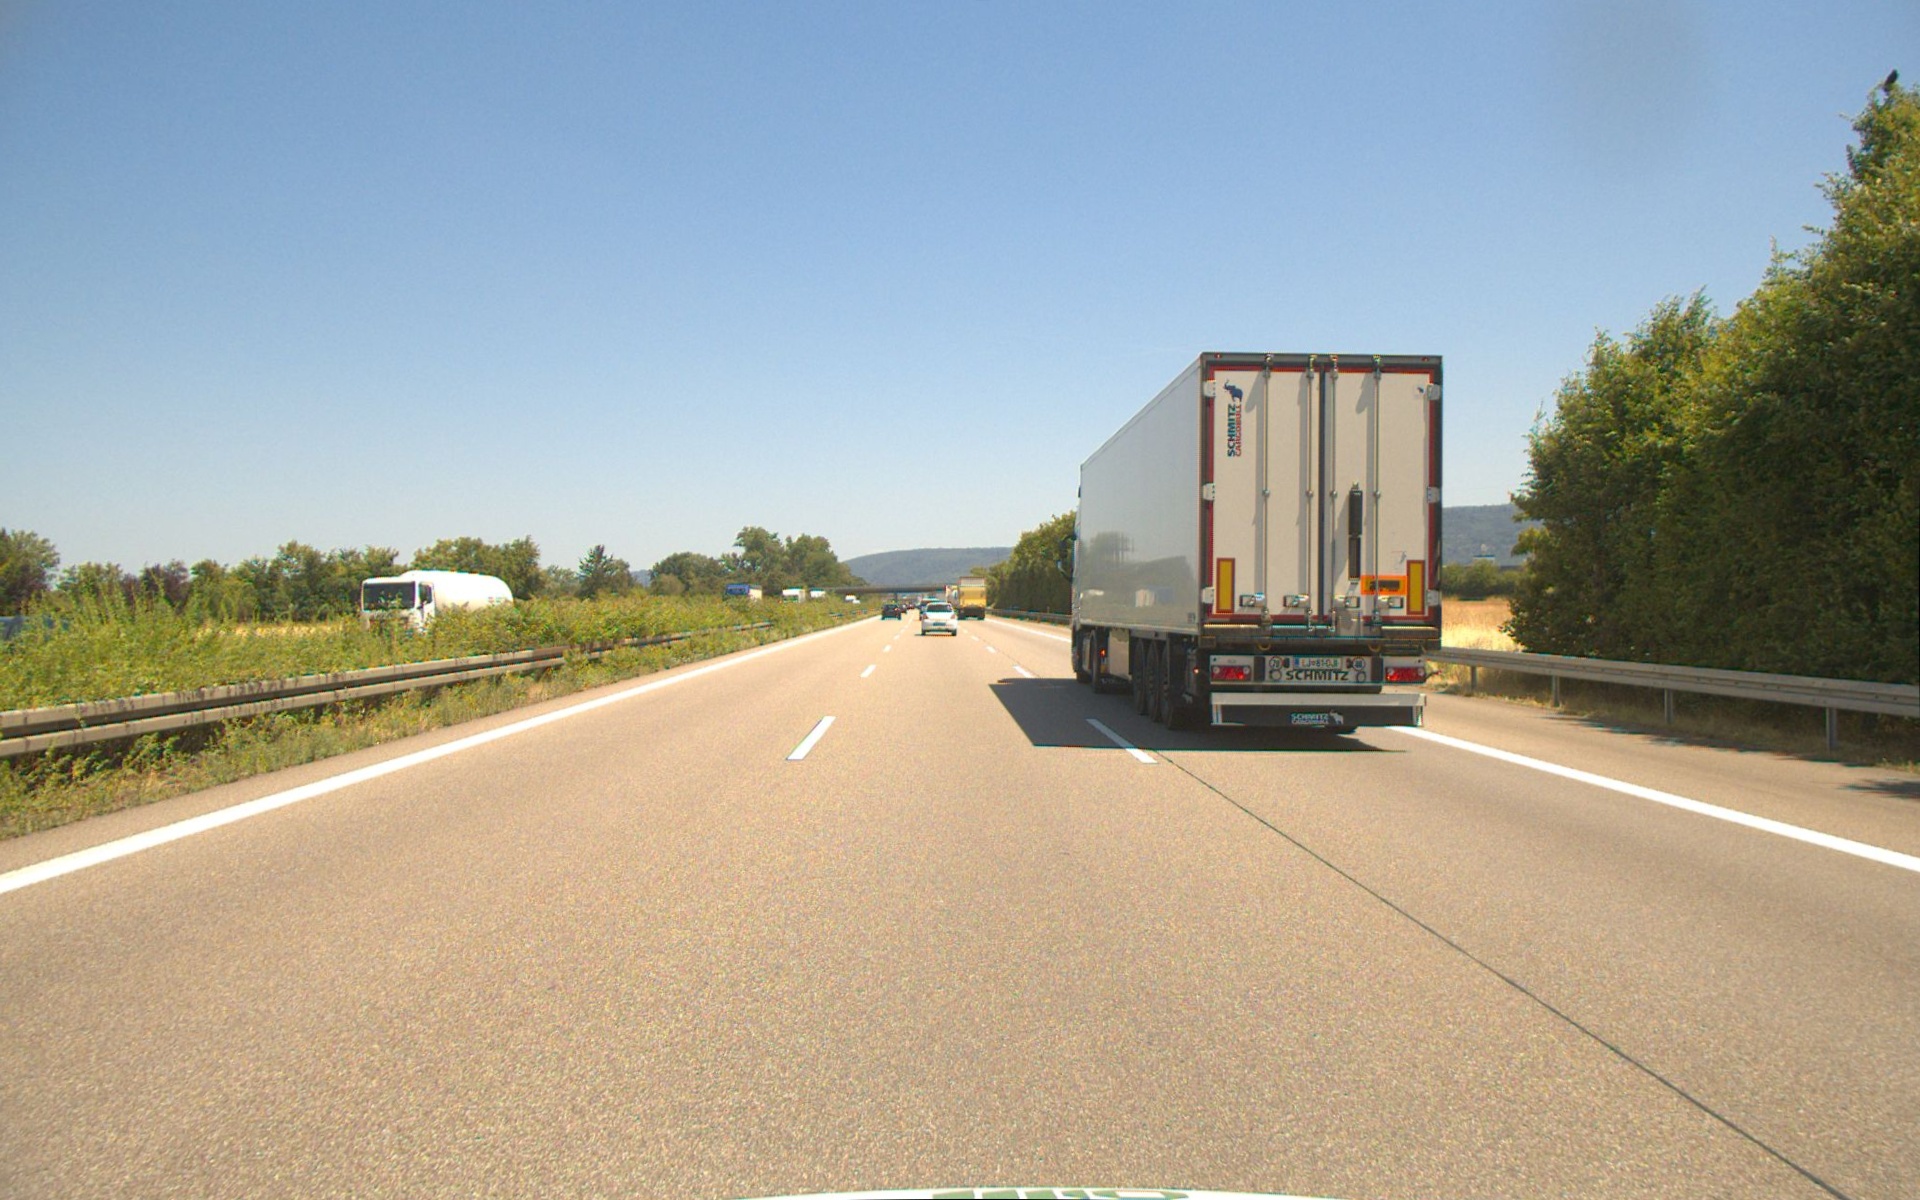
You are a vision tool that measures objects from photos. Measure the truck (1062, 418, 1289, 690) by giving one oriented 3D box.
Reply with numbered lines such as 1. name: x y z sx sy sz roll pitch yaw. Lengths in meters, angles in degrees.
1. truck: 3.757 -0.769 30.525 3.152 4.421 6.589 1 0 -1

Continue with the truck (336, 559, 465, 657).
1. truck: -21.315 0.284 63.295 3.162 3.578 5.433 -1 0 -2

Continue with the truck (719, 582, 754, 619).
1. truck: -23.849 0.047 176.462 3.070 3.899 5.832 -1 0 -2

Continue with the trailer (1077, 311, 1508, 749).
1. trailer: 3.886 -0.738 23.728 3.152 4.421 13.626 1 0 -1

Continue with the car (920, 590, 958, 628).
1. car: -1.025 0.420 78.221 1.697 1.713 3.999 -1 0 -2

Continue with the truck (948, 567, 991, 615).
1. truck: 0.808 -0.867 159.740 3.793 4.421 13.858 1 0 -1

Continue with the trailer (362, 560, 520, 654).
1. trailer: -21.469 0.288 69.347 3.162 3.578 11.766 -1 0 -2

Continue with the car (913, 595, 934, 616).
1. car: -3.159 0.448 142.814 1.750 1.742 3.999 1 0 -2

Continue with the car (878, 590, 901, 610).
1. car: -6.399 0.003 150.743 1.953 1.742 3.999 1 0 -2

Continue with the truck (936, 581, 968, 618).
1. truck: -1.136 -0.099 219.352 4.184 4.733 13.857 0 0 -1

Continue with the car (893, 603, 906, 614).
1. car: -8.494 1.188 232.385 1.759 1.578 3.999 0 0 -1
